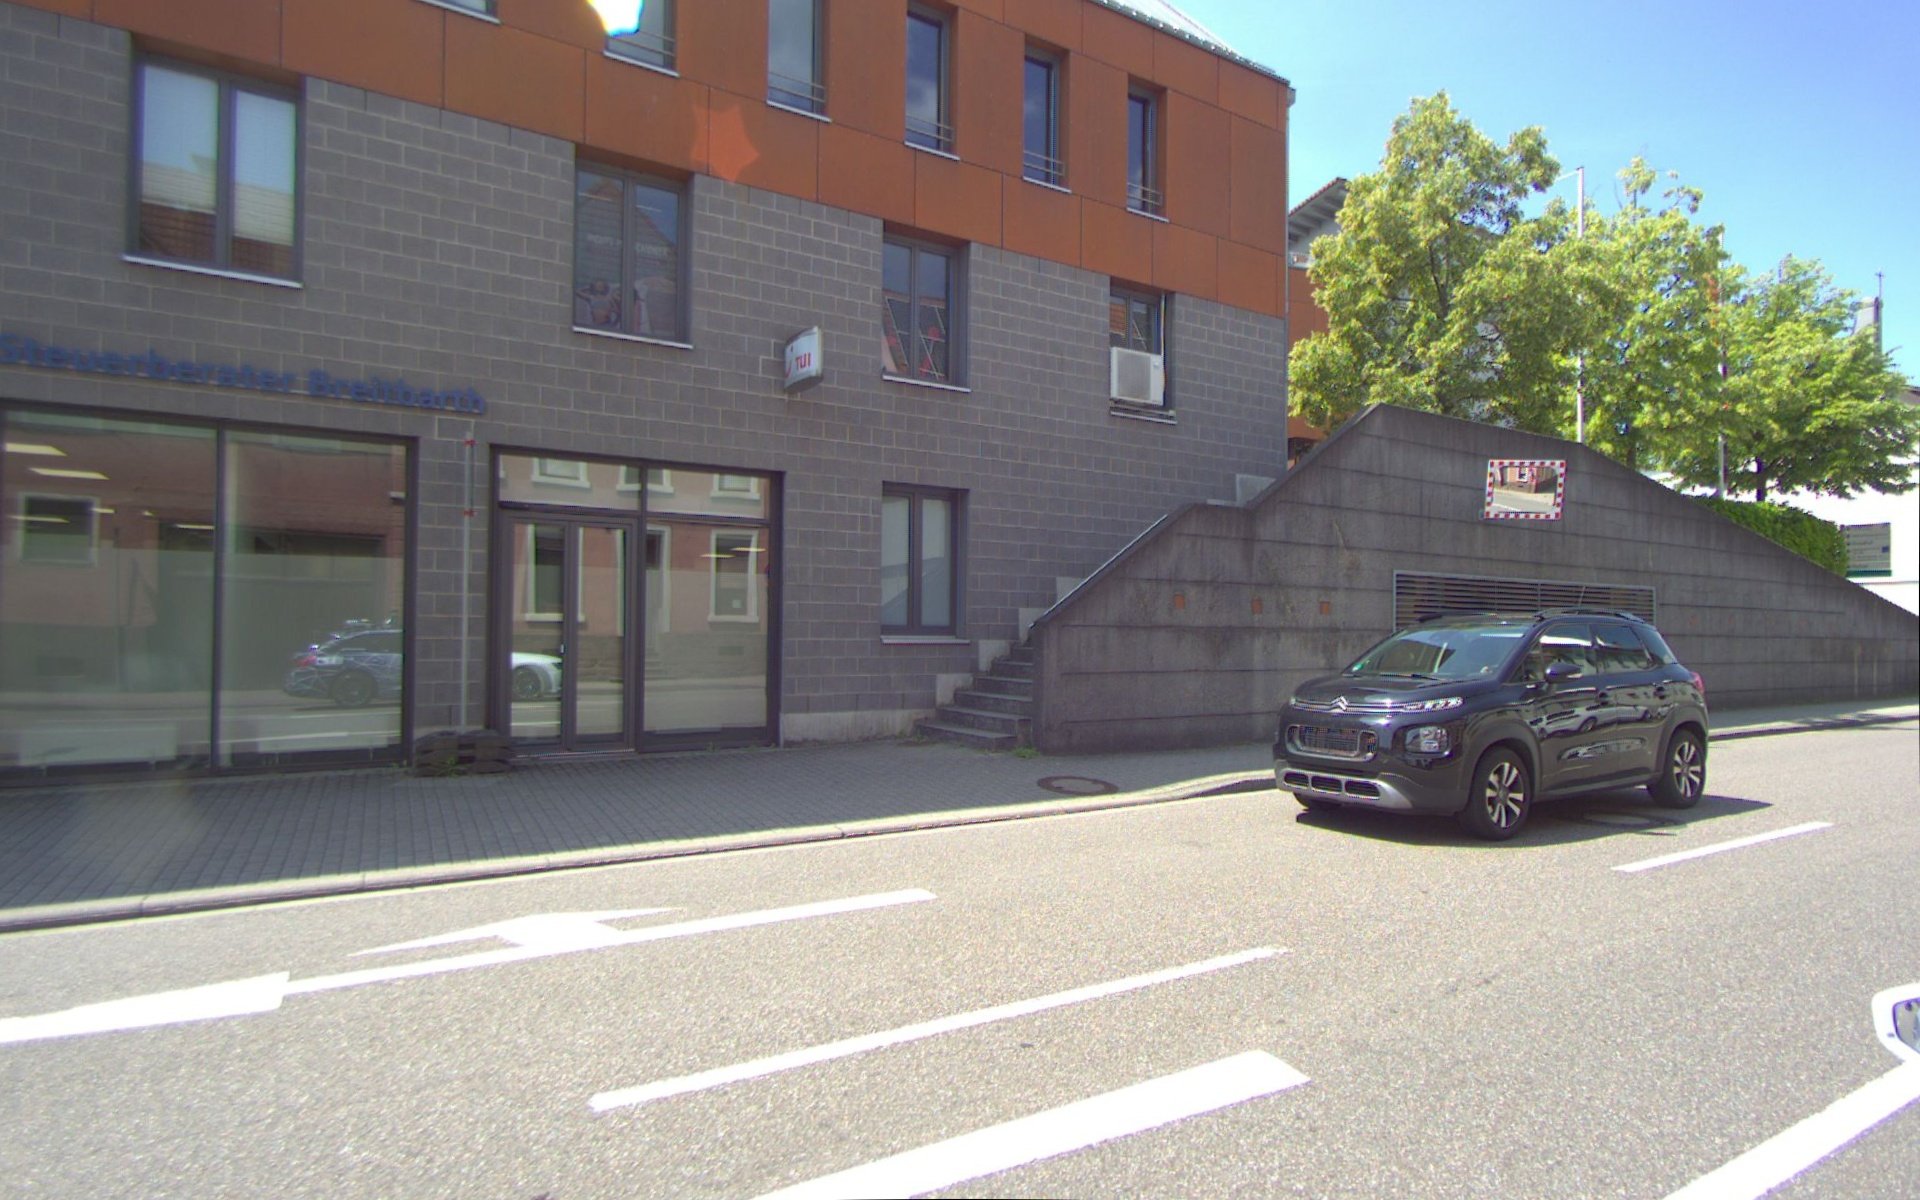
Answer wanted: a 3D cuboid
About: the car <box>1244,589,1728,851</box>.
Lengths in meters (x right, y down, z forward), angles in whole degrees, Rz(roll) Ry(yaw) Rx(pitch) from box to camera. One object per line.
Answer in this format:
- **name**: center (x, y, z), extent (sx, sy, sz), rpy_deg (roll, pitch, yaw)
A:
- **car**: center (4.364, 0.833, 8.210), extent (3.971, 1.679, 1.662), rpy_deg (1, -2, -30)
